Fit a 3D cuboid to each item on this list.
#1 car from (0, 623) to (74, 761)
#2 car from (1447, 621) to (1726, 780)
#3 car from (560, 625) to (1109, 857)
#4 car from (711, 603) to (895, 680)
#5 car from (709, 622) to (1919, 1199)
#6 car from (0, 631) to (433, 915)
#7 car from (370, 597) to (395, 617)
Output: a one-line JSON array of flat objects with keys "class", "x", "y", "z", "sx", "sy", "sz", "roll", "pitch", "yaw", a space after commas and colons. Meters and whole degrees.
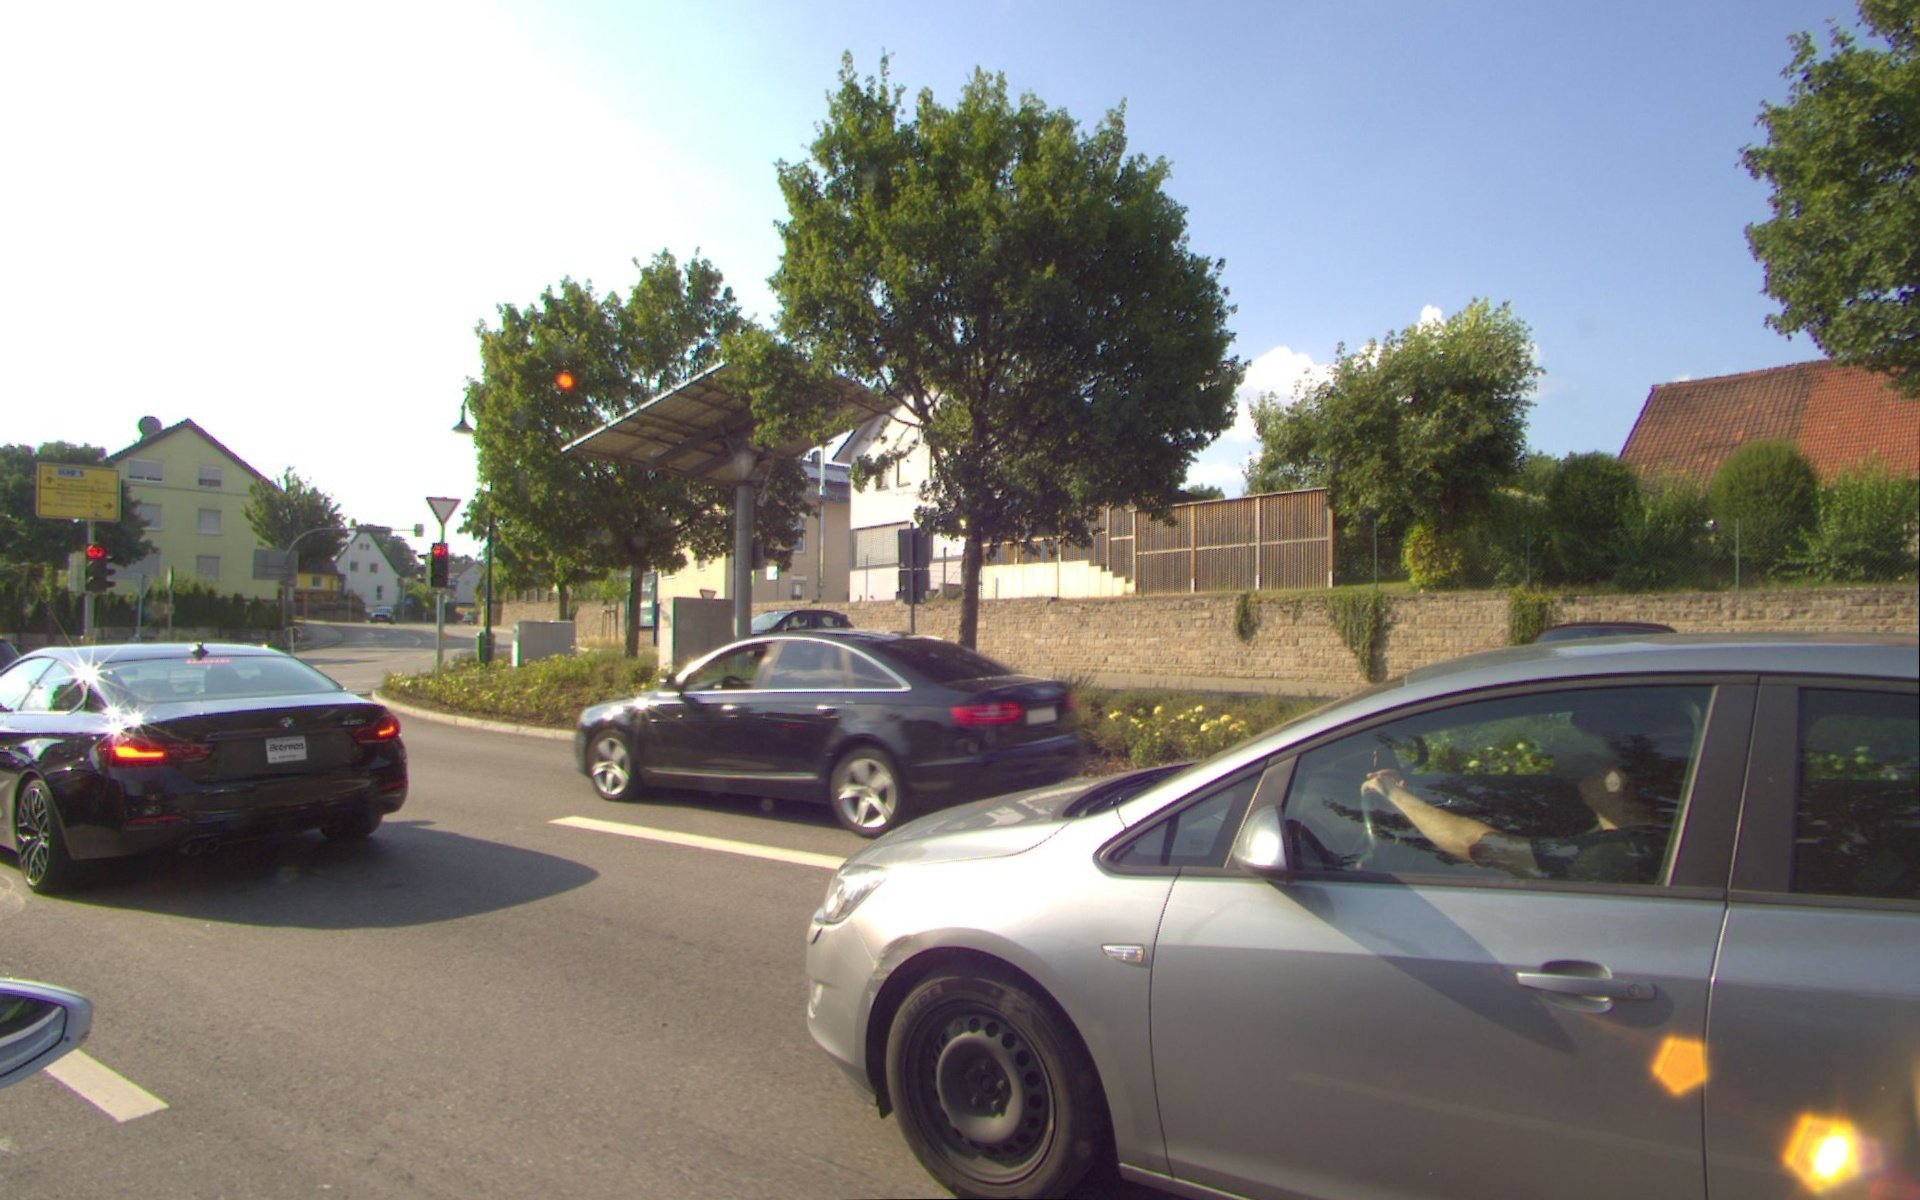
[{"class": "car", "x": -12.167, "y": 1.000, "z": 11.617, "sx": 4.287, "sy": 1.465, "sz": 1.812, "roll": -1, "pitch": -2, "yaw": 34}, {"class": "car", "x": 6.530, "y": 0.886, "z": 10.243, "sx": 1.833, "sy": 1.288, "sz": 3.969, "roll": -1, "pitch": -2, "yaw": 41}, {"class": "car", "x": -1.188, "y": 0.939, "z": 8.259, "sx": 4.526, "sy": 1.454, "sz": 1.677, "roll": -1, "pitch": -2, "yaw": 34}, {"class": "car", "x": -3.604, "y": 0.960, "z": 23.474, "sx": 1.835, "sy": 1.628, "sz": 3.964, "roll": -1, "pitch": -2, "yaw": 44}, {"class": "car", "x": 1.450, "y": 0.797, "z": 2.635, "sx": 4.107, "sy": 1.460, "sz": 1.741, "roll": -1, "pitch": -2, "yaw": 32}, {"class": "car", "x": -5.715, "y": 0.930, "z": 6.982, "sx": 4.287, "sy": 1.406, "sz": 1.812, "roll": -1, "pitch": -2, "yaw": 34}, {"class": "car", "x": -50.858, "y": 0.573, "z": 88.185, "sx": 1.766, "sy": 1.527, "sz": 4.047, "roll": 2, "pitch": 2, "yaw": -28}]
